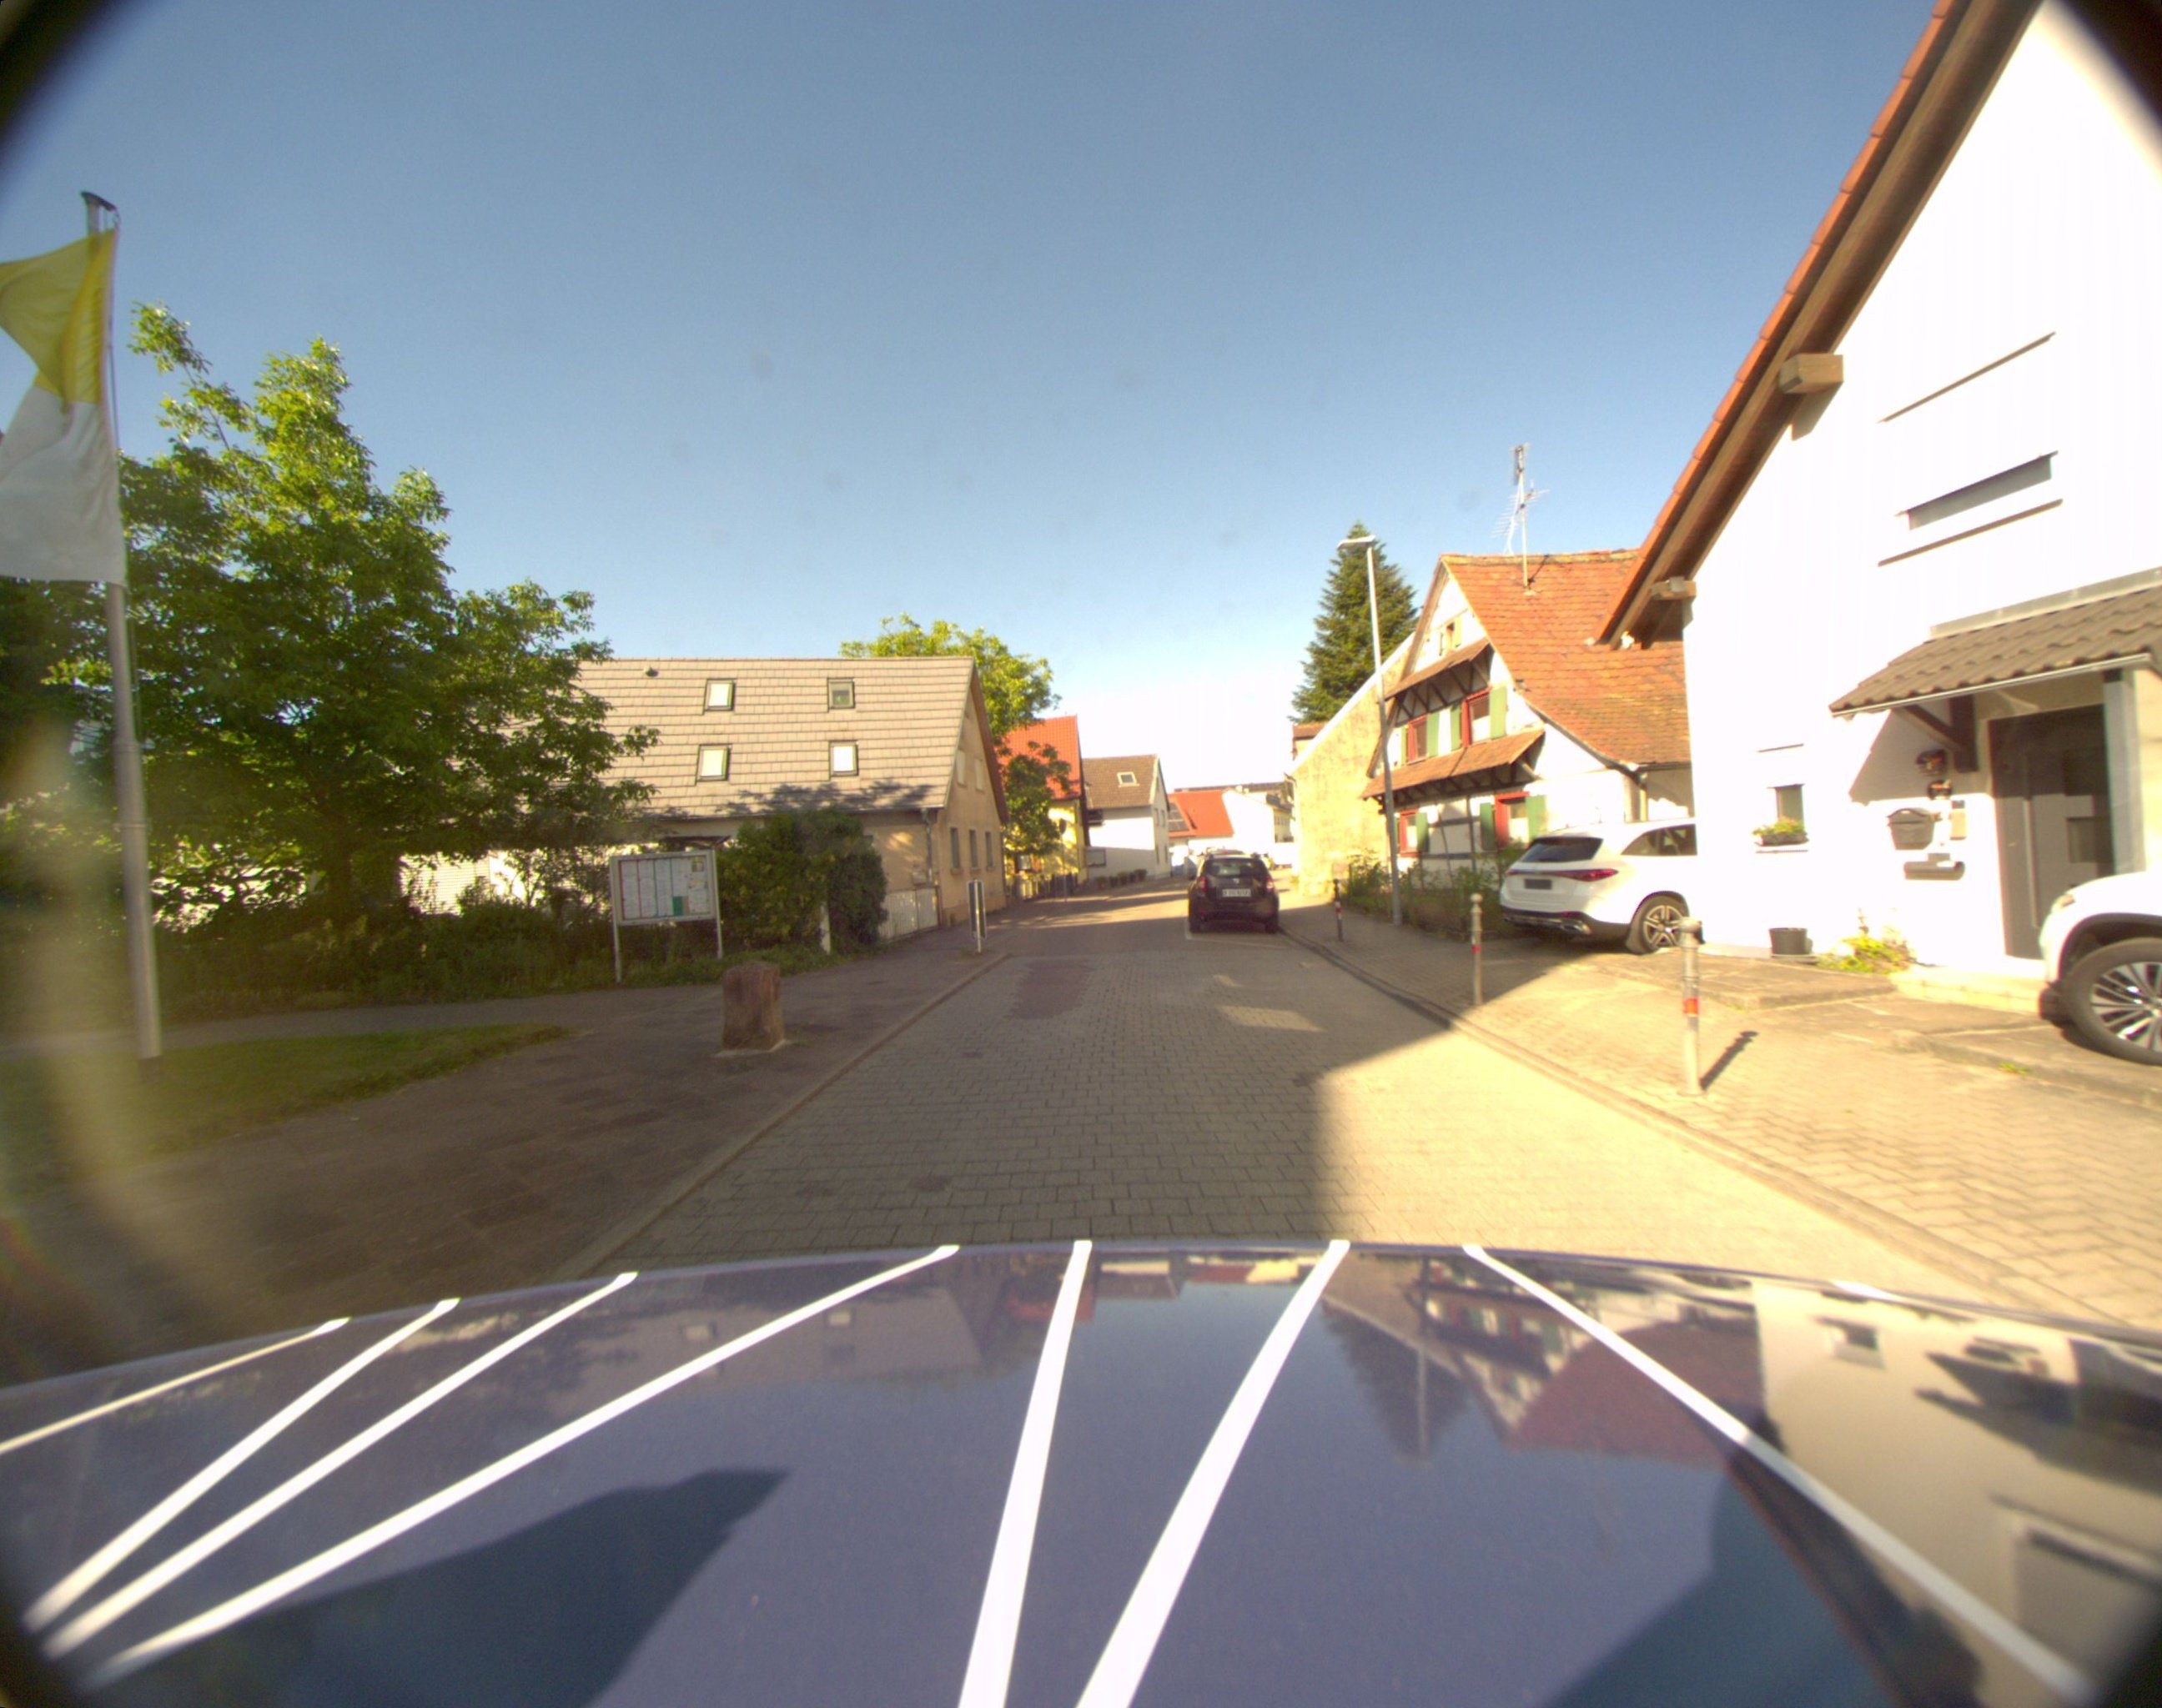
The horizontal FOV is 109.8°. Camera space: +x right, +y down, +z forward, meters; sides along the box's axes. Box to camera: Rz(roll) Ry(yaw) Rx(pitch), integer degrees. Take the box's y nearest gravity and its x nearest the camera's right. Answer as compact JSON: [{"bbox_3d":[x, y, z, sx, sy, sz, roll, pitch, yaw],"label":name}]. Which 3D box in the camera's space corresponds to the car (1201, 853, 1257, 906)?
[{"bbox_3d":[5.541,0.891,28.114,1.835,1.779,4.357,-1,-1,13],"label":"car"}]

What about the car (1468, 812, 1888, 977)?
[{"bbox_3d":[7.613,0.481,9.956,3.999,1.579,1.999,-5,-1,-7],"label":"car"}]

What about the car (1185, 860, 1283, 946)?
[{"bbox_3d":[3.301,0.987,17.111,1.836,1.661,4.355,-1,0,7],"label":"car"}]

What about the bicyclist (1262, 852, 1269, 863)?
[{"bbox_3d":[21.041,0.394,86.799,0.581,1.312,0.609,-2,0,33],"label":"bicyclist"}]

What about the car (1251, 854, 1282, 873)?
[{"bbox_3d":[16.107,0.811,65.828,1.890,1.581,4.007,-2,-1,24],"label":"car"}]

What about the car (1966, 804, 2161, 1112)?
[{"bbox_3d":[6.283,0.504,2.587,1.820,1.586,4.449,-5,0,11],"label":"car"}]

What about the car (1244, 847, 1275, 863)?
[{"bbox_3d":[24.862,0.107,105.965,3.992,2.001,1.844,-3,-1,18],"label":"car"}]

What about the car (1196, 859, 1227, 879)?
[{"bbox_3d":[10.526,1.193,61.168,1.805,1.469,4.349,0,1,18],"label":"car"}]

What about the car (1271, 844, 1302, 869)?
[{"bbox_3d":[19.431,0.229,71.643,2.057,2.233,4.867,-2,-1,23],"label":"car"}]
